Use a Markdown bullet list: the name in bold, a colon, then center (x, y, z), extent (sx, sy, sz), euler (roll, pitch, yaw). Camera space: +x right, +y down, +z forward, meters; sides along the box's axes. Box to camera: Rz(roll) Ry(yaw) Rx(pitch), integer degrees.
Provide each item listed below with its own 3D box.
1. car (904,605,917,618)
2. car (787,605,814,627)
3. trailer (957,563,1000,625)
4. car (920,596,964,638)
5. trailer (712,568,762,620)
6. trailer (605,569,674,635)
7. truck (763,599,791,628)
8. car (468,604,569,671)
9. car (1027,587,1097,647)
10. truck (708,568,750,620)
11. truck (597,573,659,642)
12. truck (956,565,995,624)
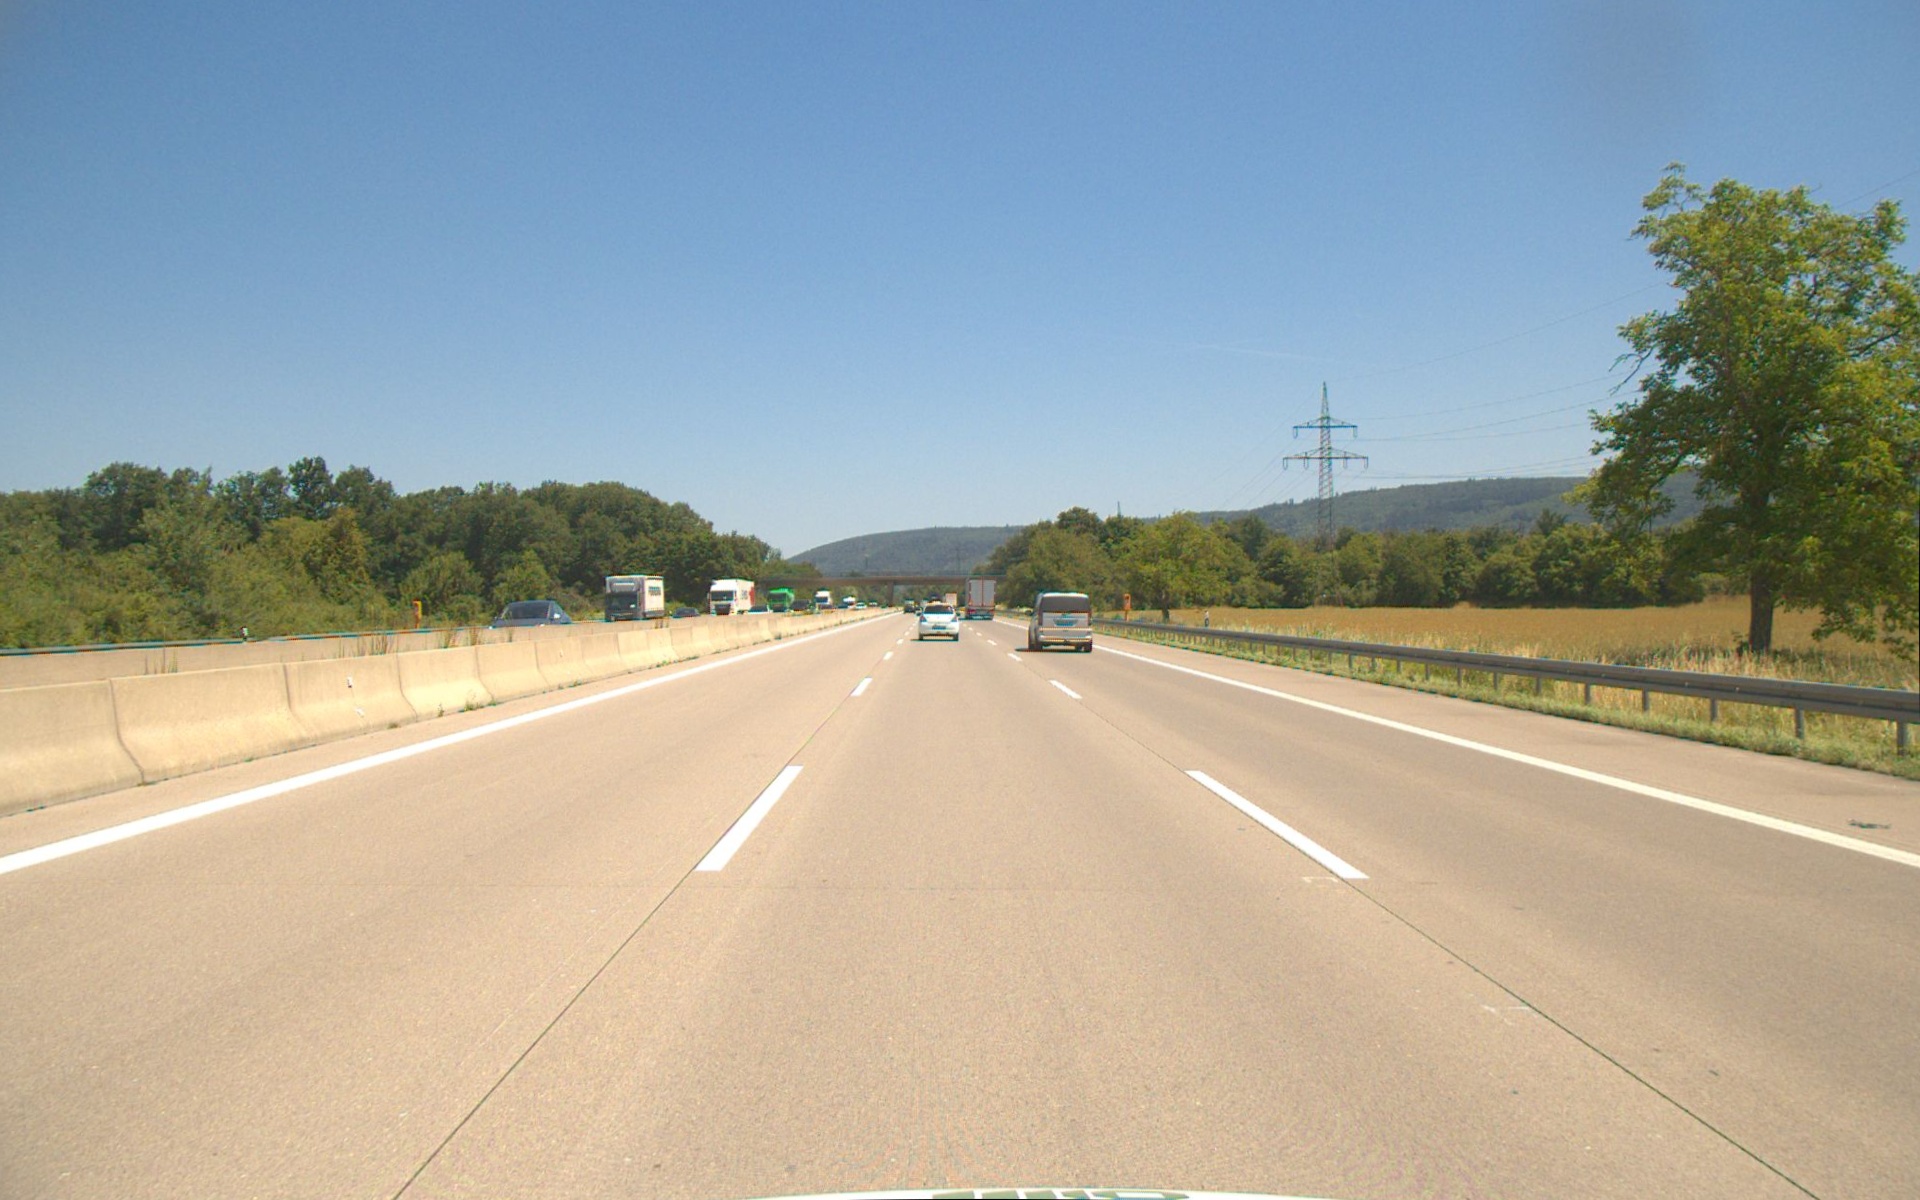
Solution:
- **car**: center (-7.333, 1.669, 245.248), extent (1.890, 1.825, 3.999), euler (1, 0, -2)
- **car**: center (-14.342, 1.415, 148.931), extent (1.953, 1.826, 4.466), euler (1, 0, -1)
- **trailer**: center (1.772, -0.574, 165.451), extent (3.646, 5.913, 12.156), euler (1, 0, -2)
- **car**: center (-0.765, 0.676, 69.009), extent (1.782, 1.691, 3.999), euler (0, 0, -2)
- **trailer**: center (-21.916, -0.591, 163.492), extent (3.019, 4.845, 14.371), euler (1, 0, -1)
- **trailer**: center (-21.024, 0.119, 108.851), extent (2.893, 4.177, 8.482), euler (1, 0, 0)
- **truck**: center (-24.499, 1.783, 221.843), extent (2.988, 3.698, 7.975), euler (1, 0, -2)
- **car**: center (-13.006, 1.071, 49.013), extent (1.890, 1.825, 4.395), euler (1, 0, -2)
- **car**: center (3.345, 0.531, 54.808), extent (1.953, 1.881, 3.999), euler (1, 0, -2)
- **truck**: center (-21.848, -0.567, 156.819), extent (3.019, 4.845, 6.497), euler (1, 0, -1)
- **truck**: center (-20.980, 0.470, 104.724), extent (2.893, 4.200, 5.085), euler (1, 0, -1)
- **truck**: center (1.534, -0.599, 171.613), extent (3.646, 5.913, 7.050), euler (1, 0, -2)
